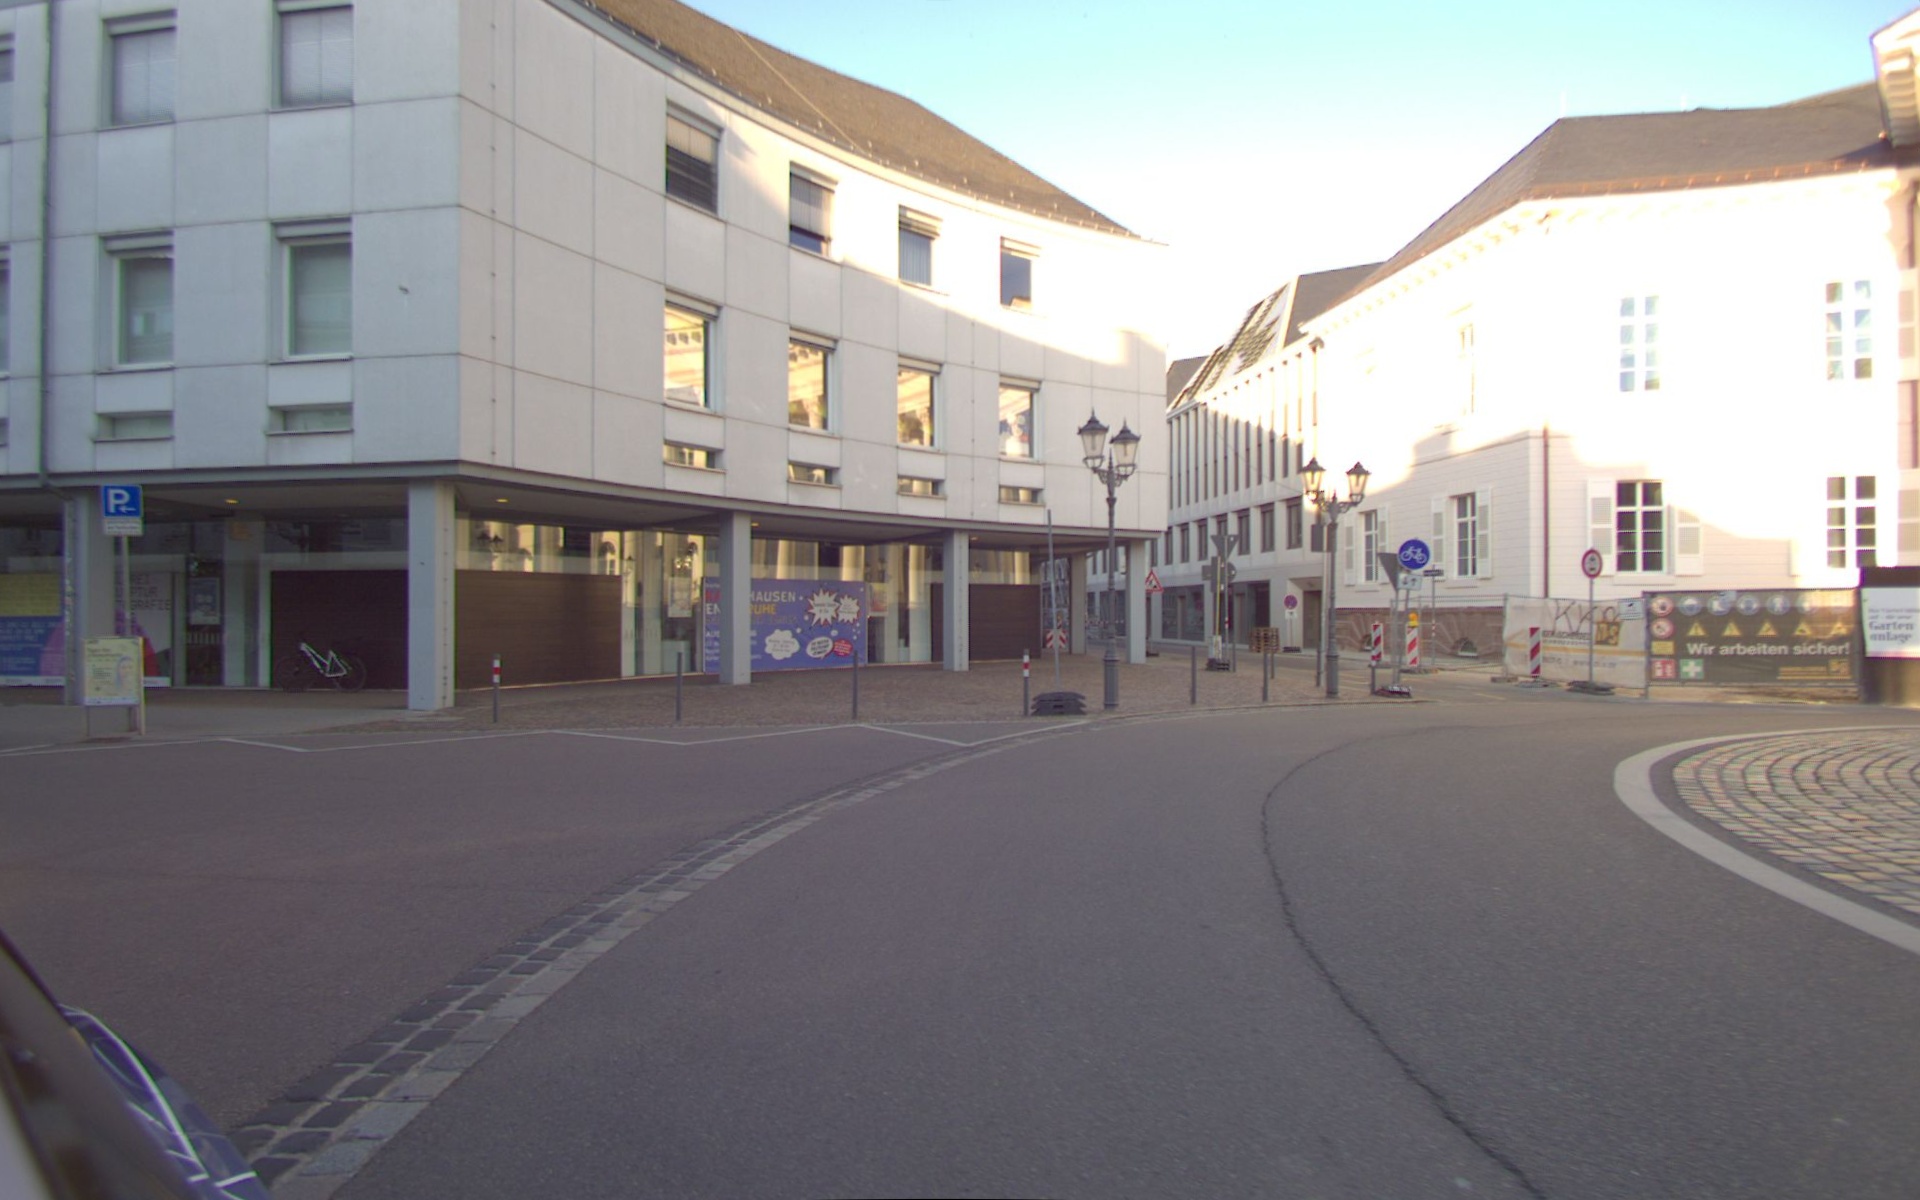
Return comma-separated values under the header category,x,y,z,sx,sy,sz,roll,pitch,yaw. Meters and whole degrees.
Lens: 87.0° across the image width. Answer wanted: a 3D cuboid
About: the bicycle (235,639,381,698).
category,x,y,z,sx,sy,sz,roll,pitch,yaw
bicycle,-11.692,1.212,18.161,2.308,0.991,0.733,0,0,9
